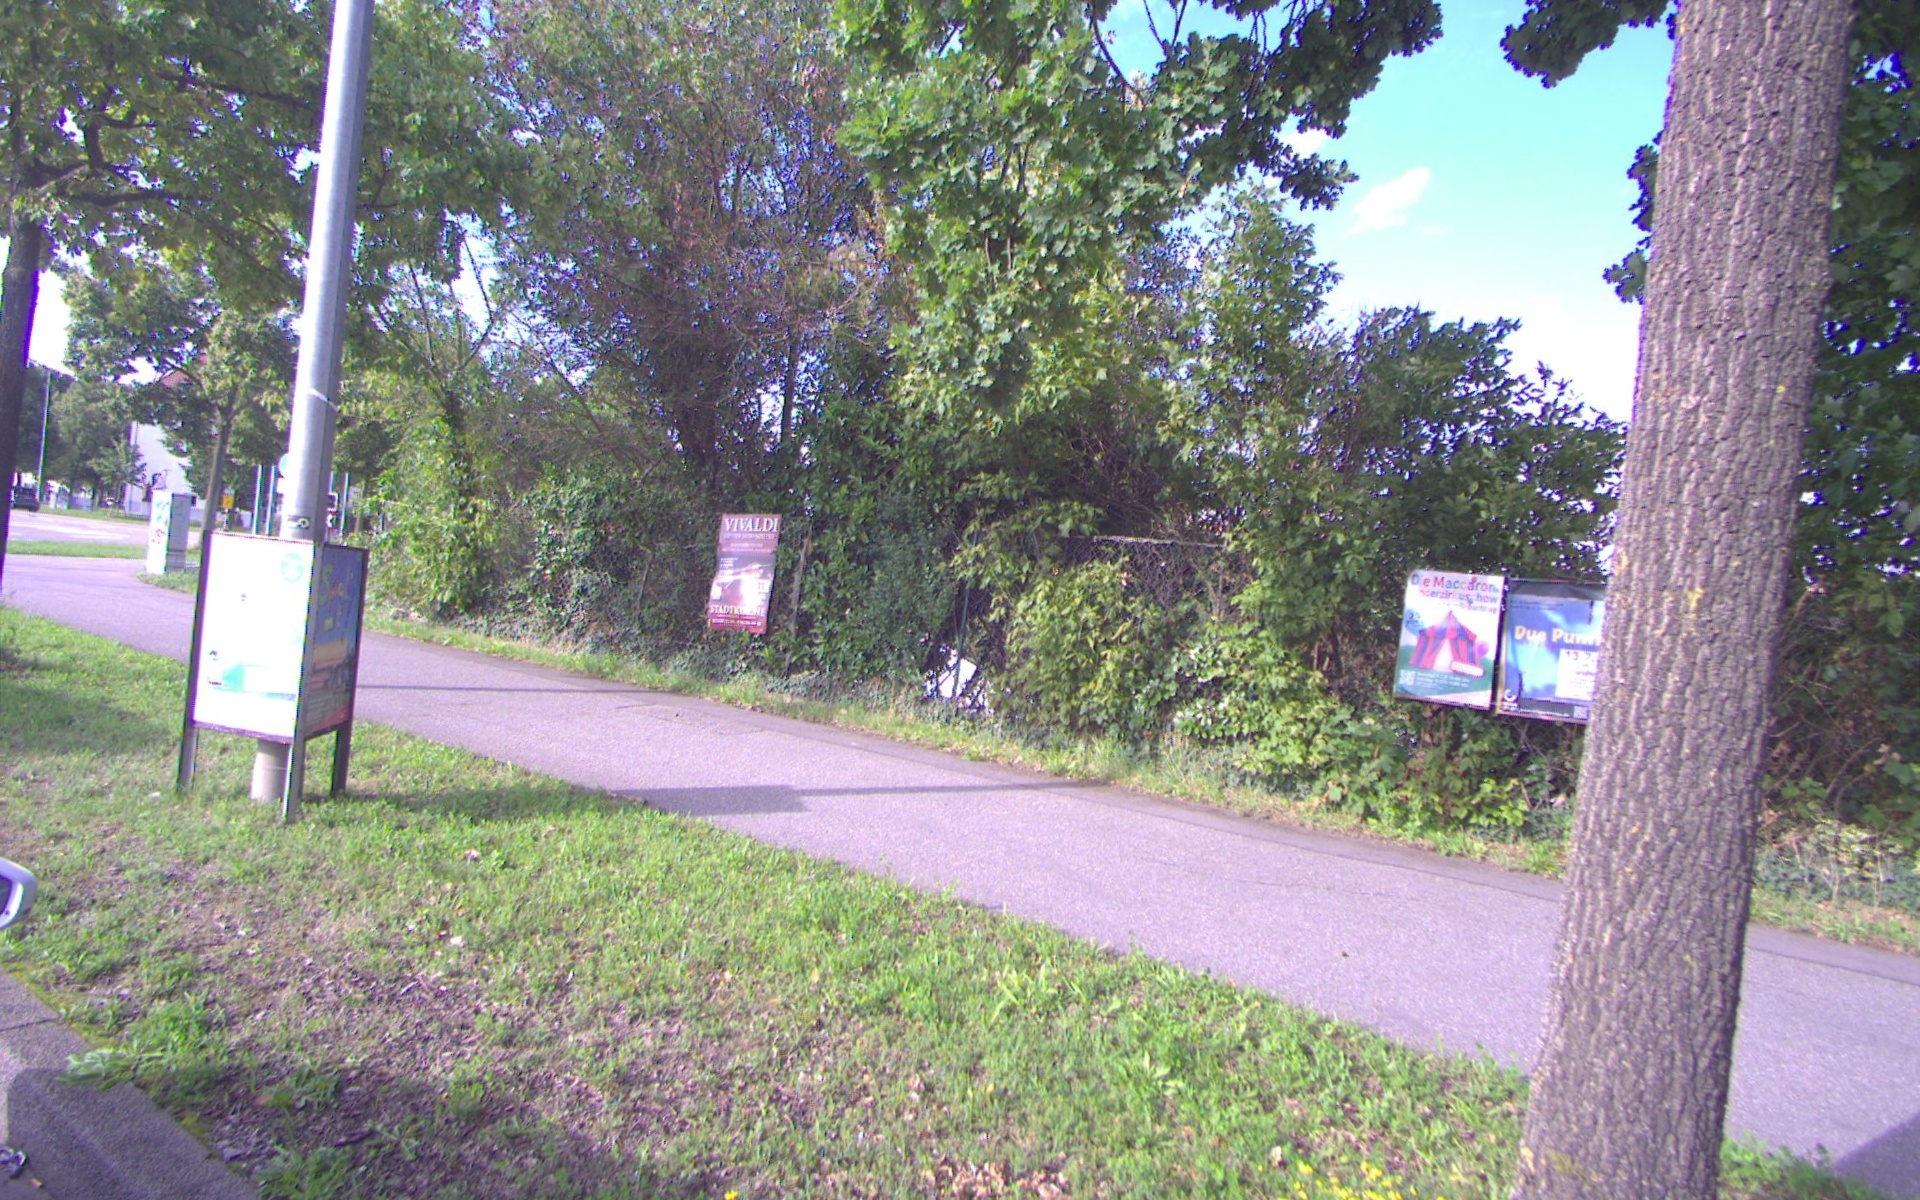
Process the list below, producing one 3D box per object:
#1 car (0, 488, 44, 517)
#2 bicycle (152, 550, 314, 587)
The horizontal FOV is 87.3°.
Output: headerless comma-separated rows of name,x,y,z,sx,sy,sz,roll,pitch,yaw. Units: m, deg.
car,-61.146,-6.344,64.730,3.137,1.595,1.574,6,3,8
bicycle,-14.220,-0.608,19.694,2.529,0.390,1.411,7,0,21
